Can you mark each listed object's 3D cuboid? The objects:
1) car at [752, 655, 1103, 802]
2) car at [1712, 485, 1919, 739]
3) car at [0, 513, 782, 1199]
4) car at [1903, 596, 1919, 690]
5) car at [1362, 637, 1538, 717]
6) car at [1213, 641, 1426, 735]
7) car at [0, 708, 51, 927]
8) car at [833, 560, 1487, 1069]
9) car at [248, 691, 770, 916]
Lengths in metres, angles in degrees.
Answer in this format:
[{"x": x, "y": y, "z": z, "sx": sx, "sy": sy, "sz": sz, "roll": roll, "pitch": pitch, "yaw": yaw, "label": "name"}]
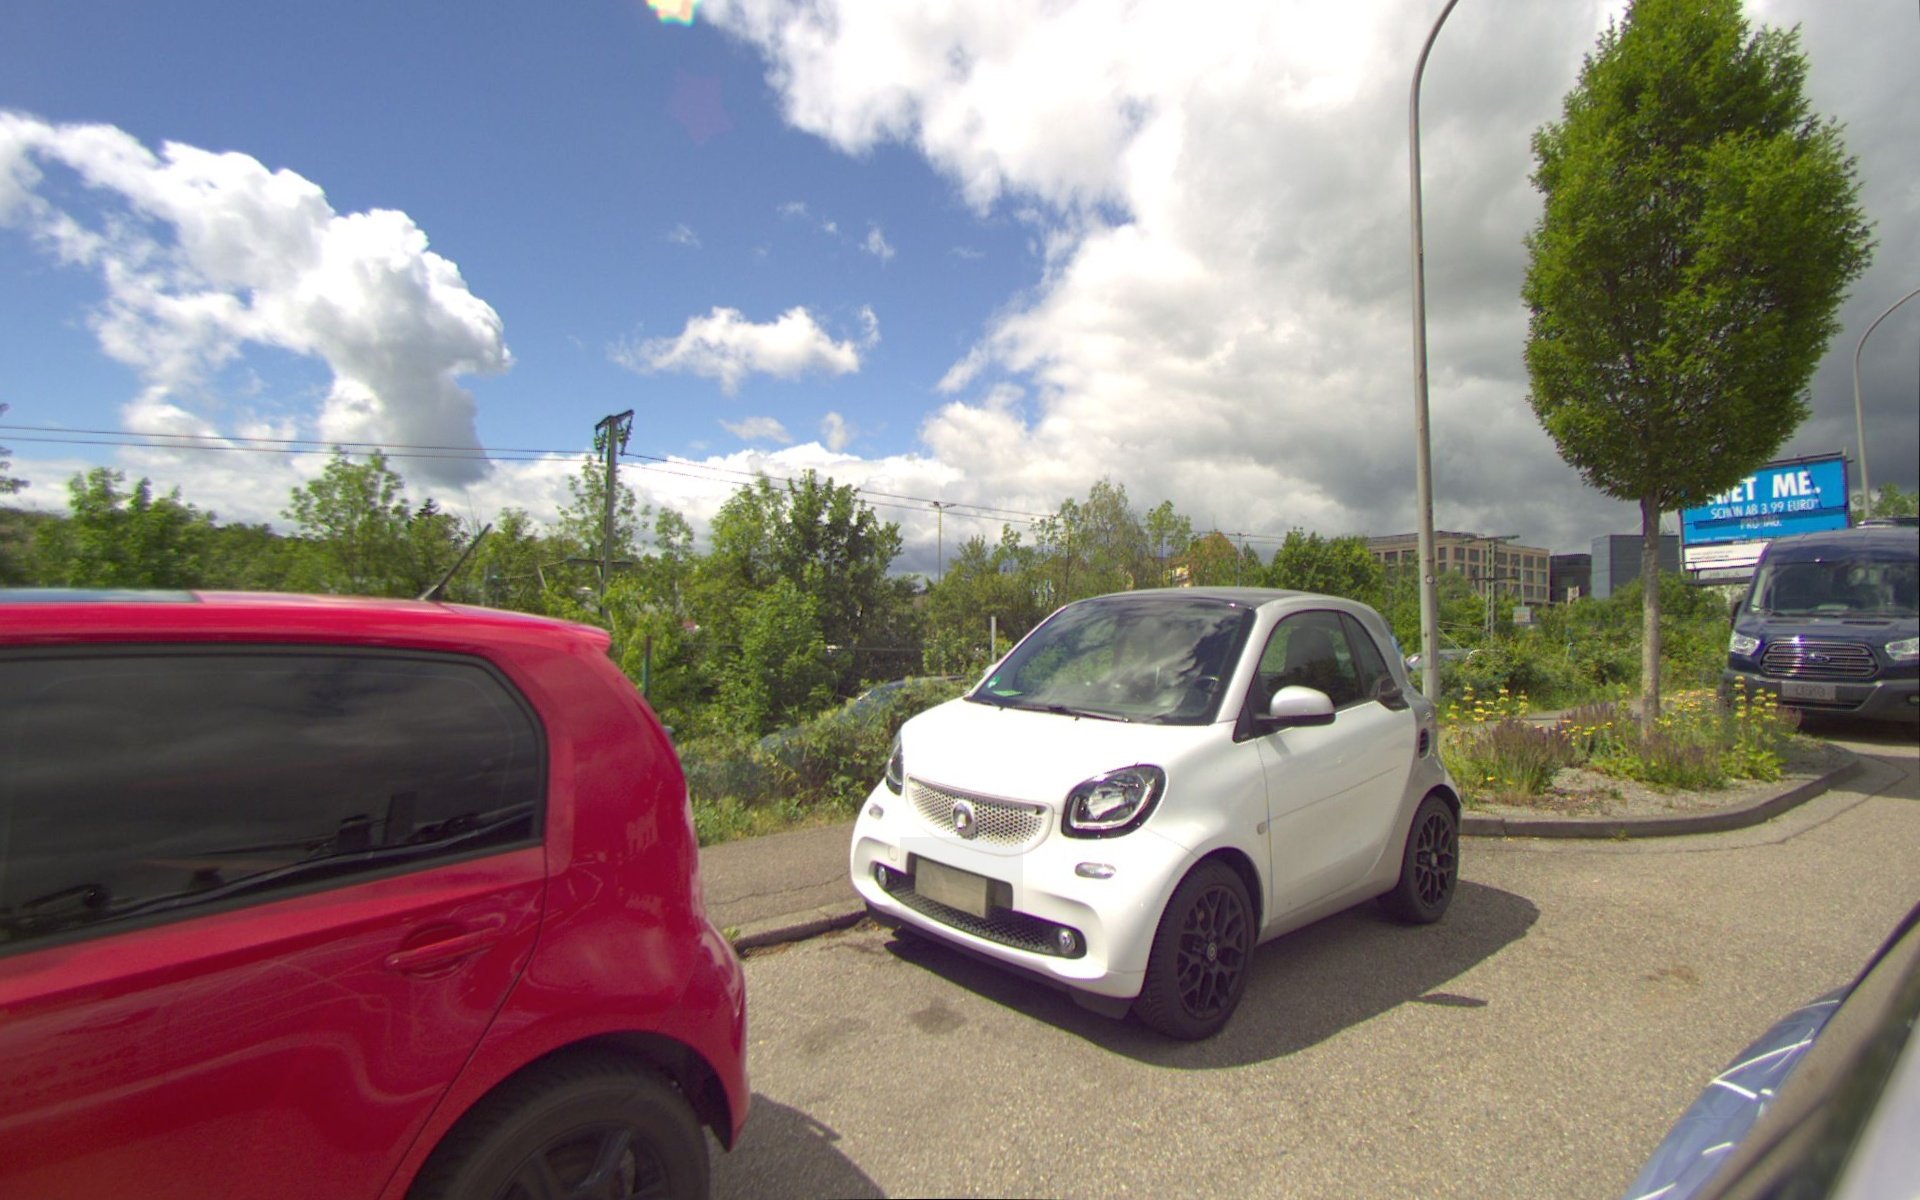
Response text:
[{"x": -0.303, "y": 1.540, "z": 13.360, "sx": 4.473, "sy": 1.368, "sz": 1.820, "roll": 0, "pitch": 0, "yaw": -39, "label": "car"}, {"x": 11.670, "y": 0.111, "z": 12.820, "sx": 5.631, "sy": 2.627, "sz": 2.059, "roll": 0, "pitch": 0, "yaw": -39, "label": "car"}, {"x": -2.186, "y": 0.636, "z": 1.622, "sx": 3.439, "sy": 1.500, "sz": 1.595, "roll": 0, "pitch": 0, "yaw": -41, "label": "car"}, {"x": 16.609, "y": 0.671, "z": 16.492, "sx": 3.306, "sy": 1.473, "sz": 1.334, "roll": 0, "pitch": 0, "yaw": -39, "label": "car"}, {"x": 10.560, "y": 1.566, "z": 21.699, "sx": 4.223, "sy": 1.368, "sz": 1.820, "roll": 0, "pitch": 0, "yaw": -39, "label": "car"}, {"x": 6.760, "y": 1.545, "z": 18.845, "sx": 4.223, "sy": 1.368, "sz": 1.820, "roll": 0, "pitch": 0, "yaw": -39, "label": "car"}, {"x": -8.921, "y": 1.619, "z": 6.506, "sx": 4.473, "sy": 1.368, "sz": 1.820, "roll": 0, "pitch": 0, "yaw": -39, "label": "car"}, {"x": 1.029, "y": 0.650, "z": 4.625, "sx": 2.809, "sy": 1.542, "sz": 1.595, "roll": 0, "pitch": 0, "yaw": -43, "label": "car"}, {"x": -4.324, "y": 1.796, "z": 10.124, "sx": 4.473, "sy": 1.368, "sz": 1.820, "roll": 0, "pitch": 0, "yaw": -39, "label": "car"}]
